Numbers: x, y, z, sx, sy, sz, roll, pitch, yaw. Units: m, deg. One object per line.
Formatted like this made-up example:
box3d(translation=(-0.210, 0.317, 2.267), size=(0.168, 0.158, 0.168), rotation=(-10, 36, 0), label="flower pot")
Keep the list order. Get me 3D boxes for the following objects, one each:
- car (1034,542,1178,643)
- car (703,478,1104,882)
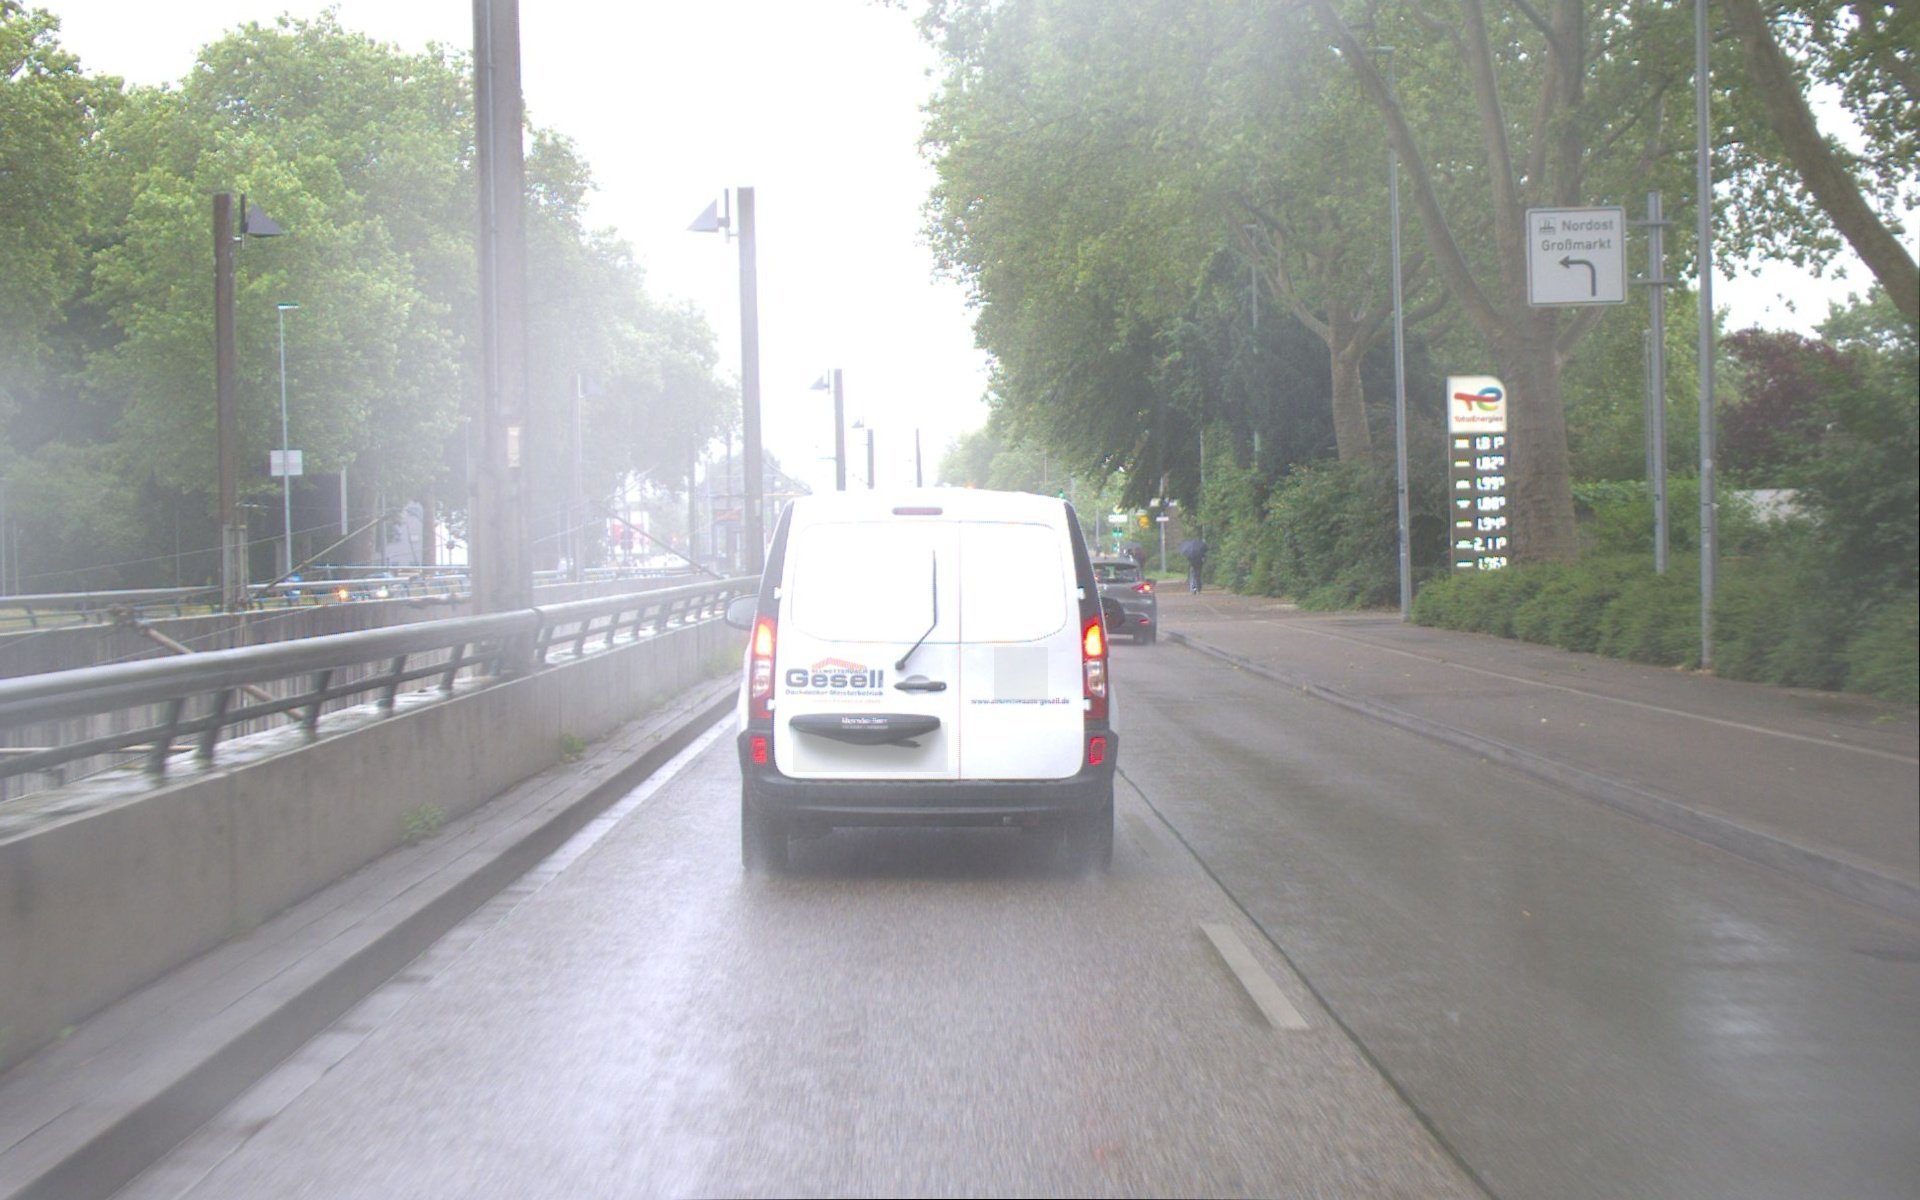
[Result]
box3d(translation=(2.396, -0.133, 57.482), size=(1.993, 1.579, 4.000), rotation=(-2, 0, -3), label="car")
box3d(translation=(-0.276, 0.357, 17.097), size=(1.756, 1.771, 4.000), rotation=(0, 0, -1), label="car")
